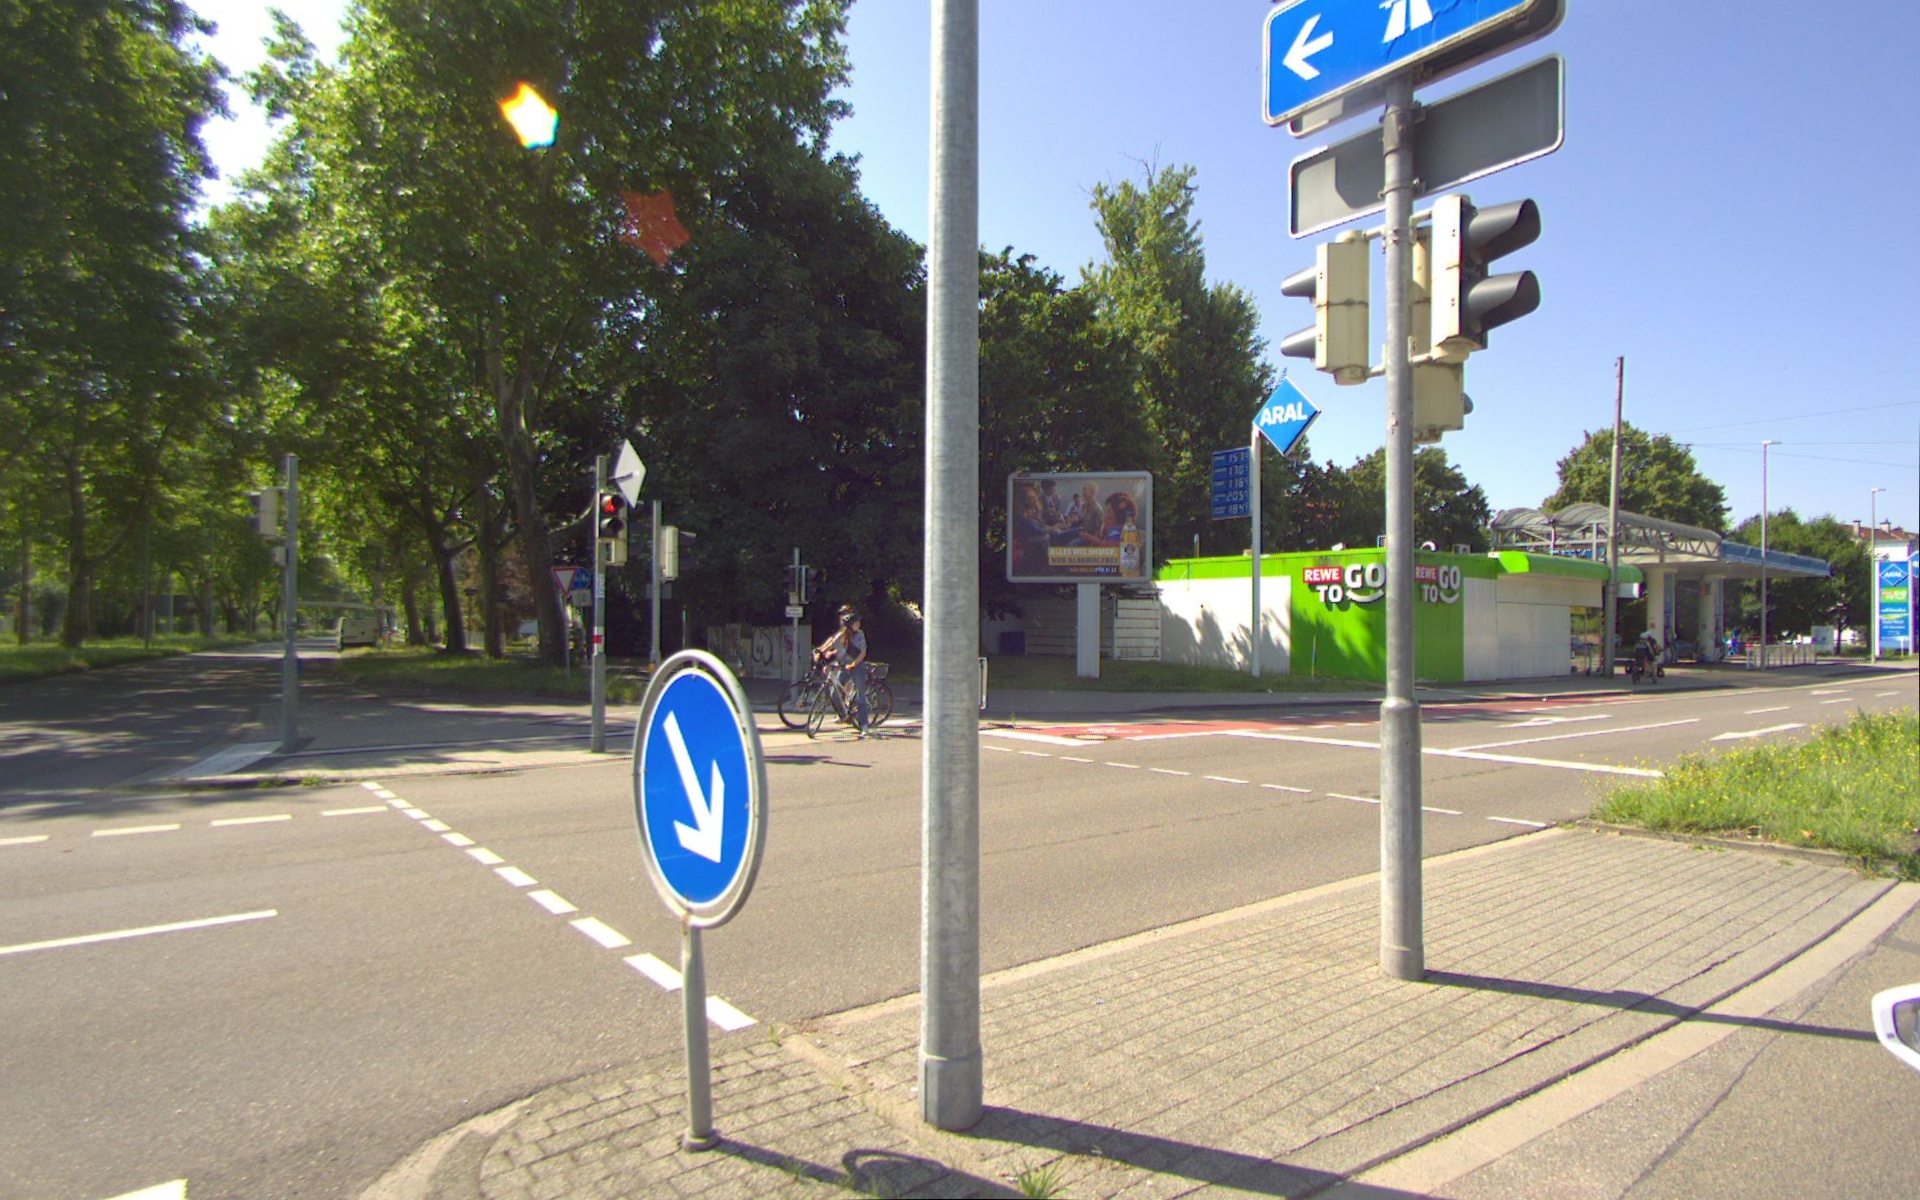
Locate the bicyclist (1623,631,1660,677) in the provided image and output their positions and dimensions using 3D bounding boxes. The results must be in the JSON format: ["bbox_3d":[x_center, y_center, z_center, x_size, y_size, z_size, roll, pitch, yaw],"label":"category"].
[{"bbox_3d":[22.249,1.747,32.795,0.826,1.455,0.839,0,0,-42],"label":"bicyclist"}]

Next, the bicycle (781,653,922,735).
[{"bbox_3d":[-1.530,1.321,14.555,0.742,1.072,2.064,-1,-2,42],"label":"bicycle"}]

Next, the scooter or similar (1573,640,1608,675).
[{"bbox_3d":[22.403,2.033,35.688,1.329,1.253,0.439,1,-2,-29],"label":"scooter or similar"}]

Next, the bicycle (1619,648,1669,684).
[{"bbox_3d":[22.713,2.164,33.338,2.754,1.109,0.817,2,-3,-44],"label":"bicycle"}]

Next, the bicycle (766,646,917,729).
[{"bbox_3d":[-1.826,1.324,15.717,2.191,1.190,0.930,2,-2,-37],"label":"bicycle"}]

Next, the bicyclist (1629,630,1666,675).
[{"bbox_3d":[22.808,1.742,33.323,0.826,1.454,0.839,2,-2,-42],"label":"bicyclist"}]

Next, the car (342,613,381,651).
[{"bbox_3d":[-38.444,2.066,64.480,1.979,2.346,4.617,1,-2,-33],"label":"car"}]

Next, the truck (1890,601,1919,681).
[{"bbox_3d":[35.277,1.443,35.534,7.294,2.703,2.313,2,-3,-38],"label":"truck"}]

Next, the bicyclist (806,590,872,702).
[{"bbox_3d":[-1.901,0.690,15.774,0.815,1.696,0.833,0,0,-25],"label":"bicyclist"}]

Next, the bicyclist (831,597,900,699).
[{"bbox_3d":[-1.379,0.679,14.670,0.700,1.439,0.735,0,0,43],"label":"bicyclist"}]

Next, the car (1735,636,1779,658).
[{"bbox_3d":[63.143,3.686,79.564,4.478,1.591,1.785,0,-1,-39],"label":"car"}]
